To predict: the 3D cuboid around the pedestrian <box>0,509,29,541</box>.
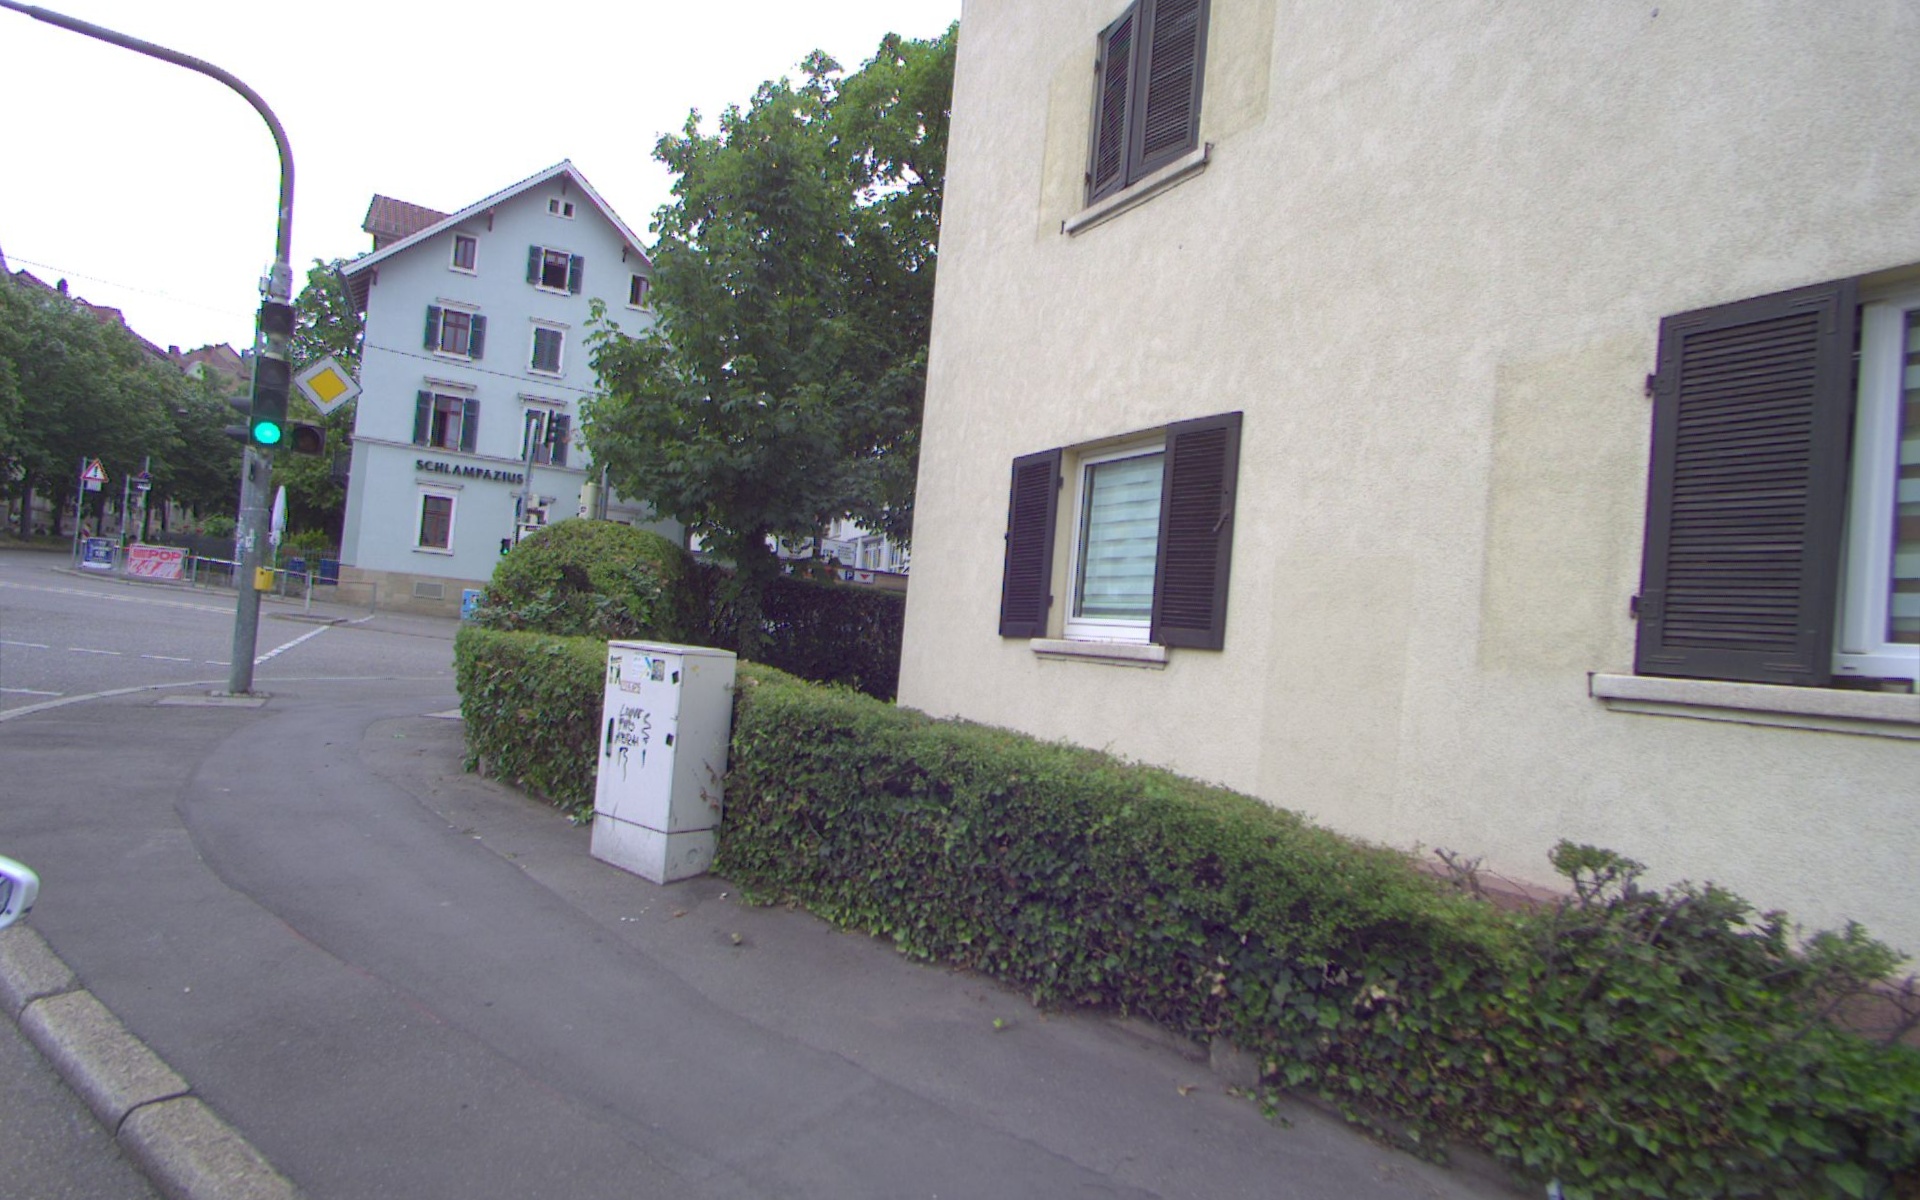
[{"bbox_3d":[-66.794,-5.304,71.006,1.181,2.037,0.984,7,-1,-24],"label":"pedestrian"}]
